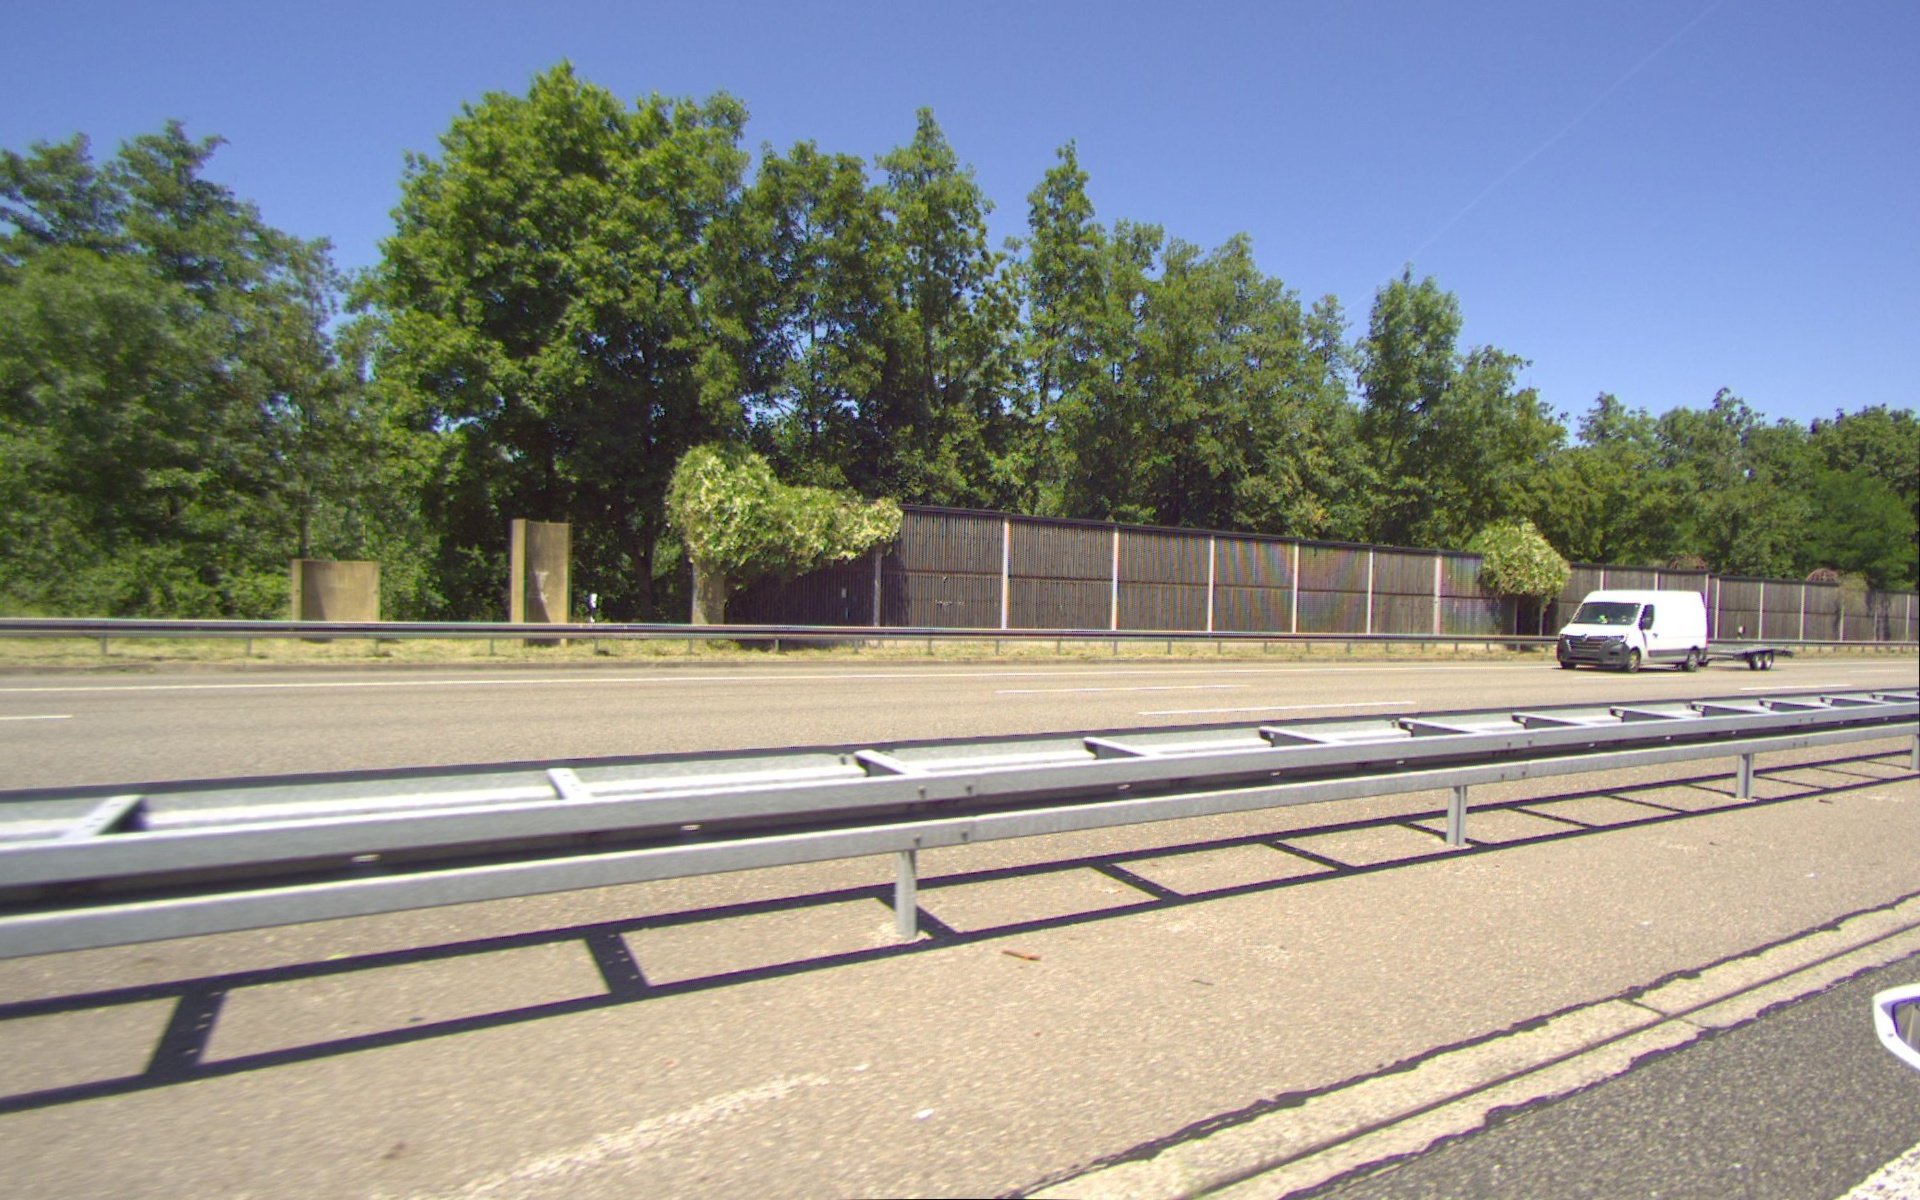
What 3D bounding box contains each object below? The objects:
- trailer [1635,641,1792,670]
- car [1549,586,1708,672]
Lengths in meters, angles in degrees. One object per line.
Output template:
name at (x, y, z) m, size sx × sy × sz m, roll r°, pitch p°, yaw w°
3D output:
trailer at (25.637, 1.847, 34.100) m, size 6.211 × 0.818 × 2.150 m, roll 2°, pitch 0°, yaw -32°
car at (20.701, 0.876, 31.021) m, size 5.352 × 2.463 × 2.013 m, roll 2°, pitch 0°, yaw -32°
